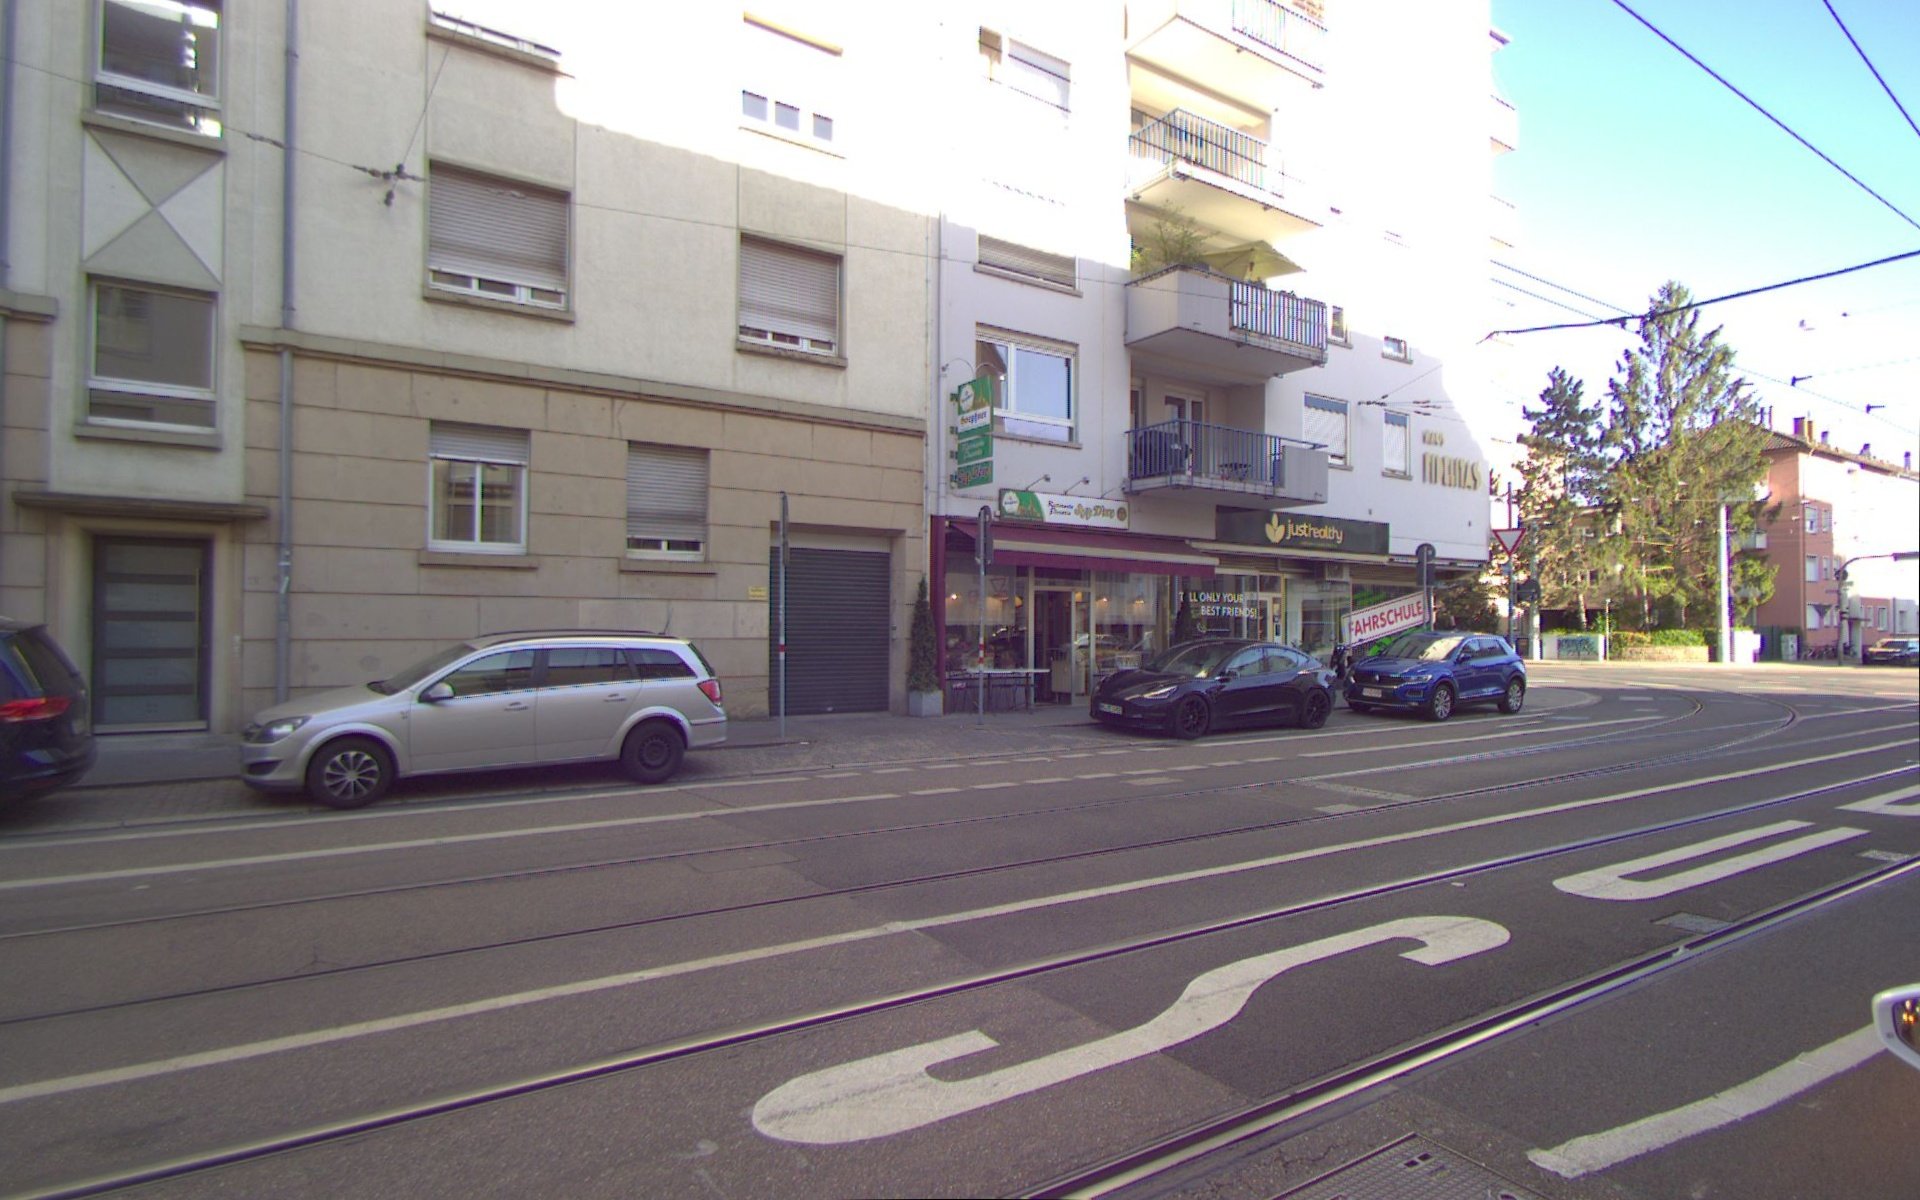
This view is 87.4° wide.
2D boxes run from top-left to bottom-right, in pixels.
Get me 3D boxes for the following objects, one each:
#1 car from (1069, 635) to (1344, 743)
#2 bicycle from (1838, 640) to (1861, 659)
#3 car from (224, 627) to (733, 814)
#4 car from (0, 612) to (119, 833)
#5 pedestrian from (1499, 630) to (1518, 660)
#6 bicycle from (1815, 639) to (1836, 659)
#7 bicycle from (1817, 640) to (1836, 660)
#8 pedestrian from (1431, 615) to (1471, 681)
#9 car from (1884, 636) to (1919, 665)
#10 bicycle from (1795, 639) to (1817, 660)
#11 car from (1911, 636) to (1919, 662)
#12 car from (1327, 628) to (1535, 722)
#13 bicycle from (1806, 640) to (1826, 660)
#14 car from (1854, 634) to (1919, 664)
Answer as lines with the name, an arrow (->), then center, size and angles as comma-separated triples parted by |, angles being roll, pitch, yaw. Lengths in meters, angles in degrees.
car -> 4.009, 1.317, 16.041 | 4.442, 1.422, 1.714 | 1, 1, -34
bicycle -> 53.156, 2.938, 60.024 | 1.892, 1.097, 0.605 | 1, -2, -37
car -> -4.710, 1.052, 10.213 | 4.343, 1.497, 1.785 | 1, -1, -34
car -> -8.997, 0.882, 7.191 | 4.343, 1.620, 1.785 | 1, -1, -34
pedestrian -> 31.501, 2.563, 57.684 | 0.800, 1.725, 0.676 | -1, -2, 44
bicycle -> 50.740, 2.861, 58.879 | 1.892, 1.097, 0.533 | 1, -2, -37
bicycle -> 47.604, 2.747, 55.164 | 1.895, 1.097, 0.532 | 2, -2, -41
pedestrian -> 14.009, 1.354, 28.671 | 0.707, 1.859, 0.771 | 0, -1, -3
car -> 54.272, 2.841, 57.011 | 4.006, 1.539, 1.938 | 1, -2, -36
bicycle -> 46.881, 2.725, 55.631 | 1.895, 1.097, 0.634 | 2, -2, -41
car -> 58.126, 2.898, 59.450 | 3.961, 1.539, 1.938 | 1, -2, -36
car -> 8.989, 1.347, 19.083 | 4.072, 1.525, 1.714 | 1, 1, -34
bicycle -> 47.177, 2.735, 55.339 | 1.895, 1.097, 0.532 | 2, -2, -41
car -> 49.724, 2.617, 53.781 | 3.961, 1.539, 1.938 | 1, -2, -36
